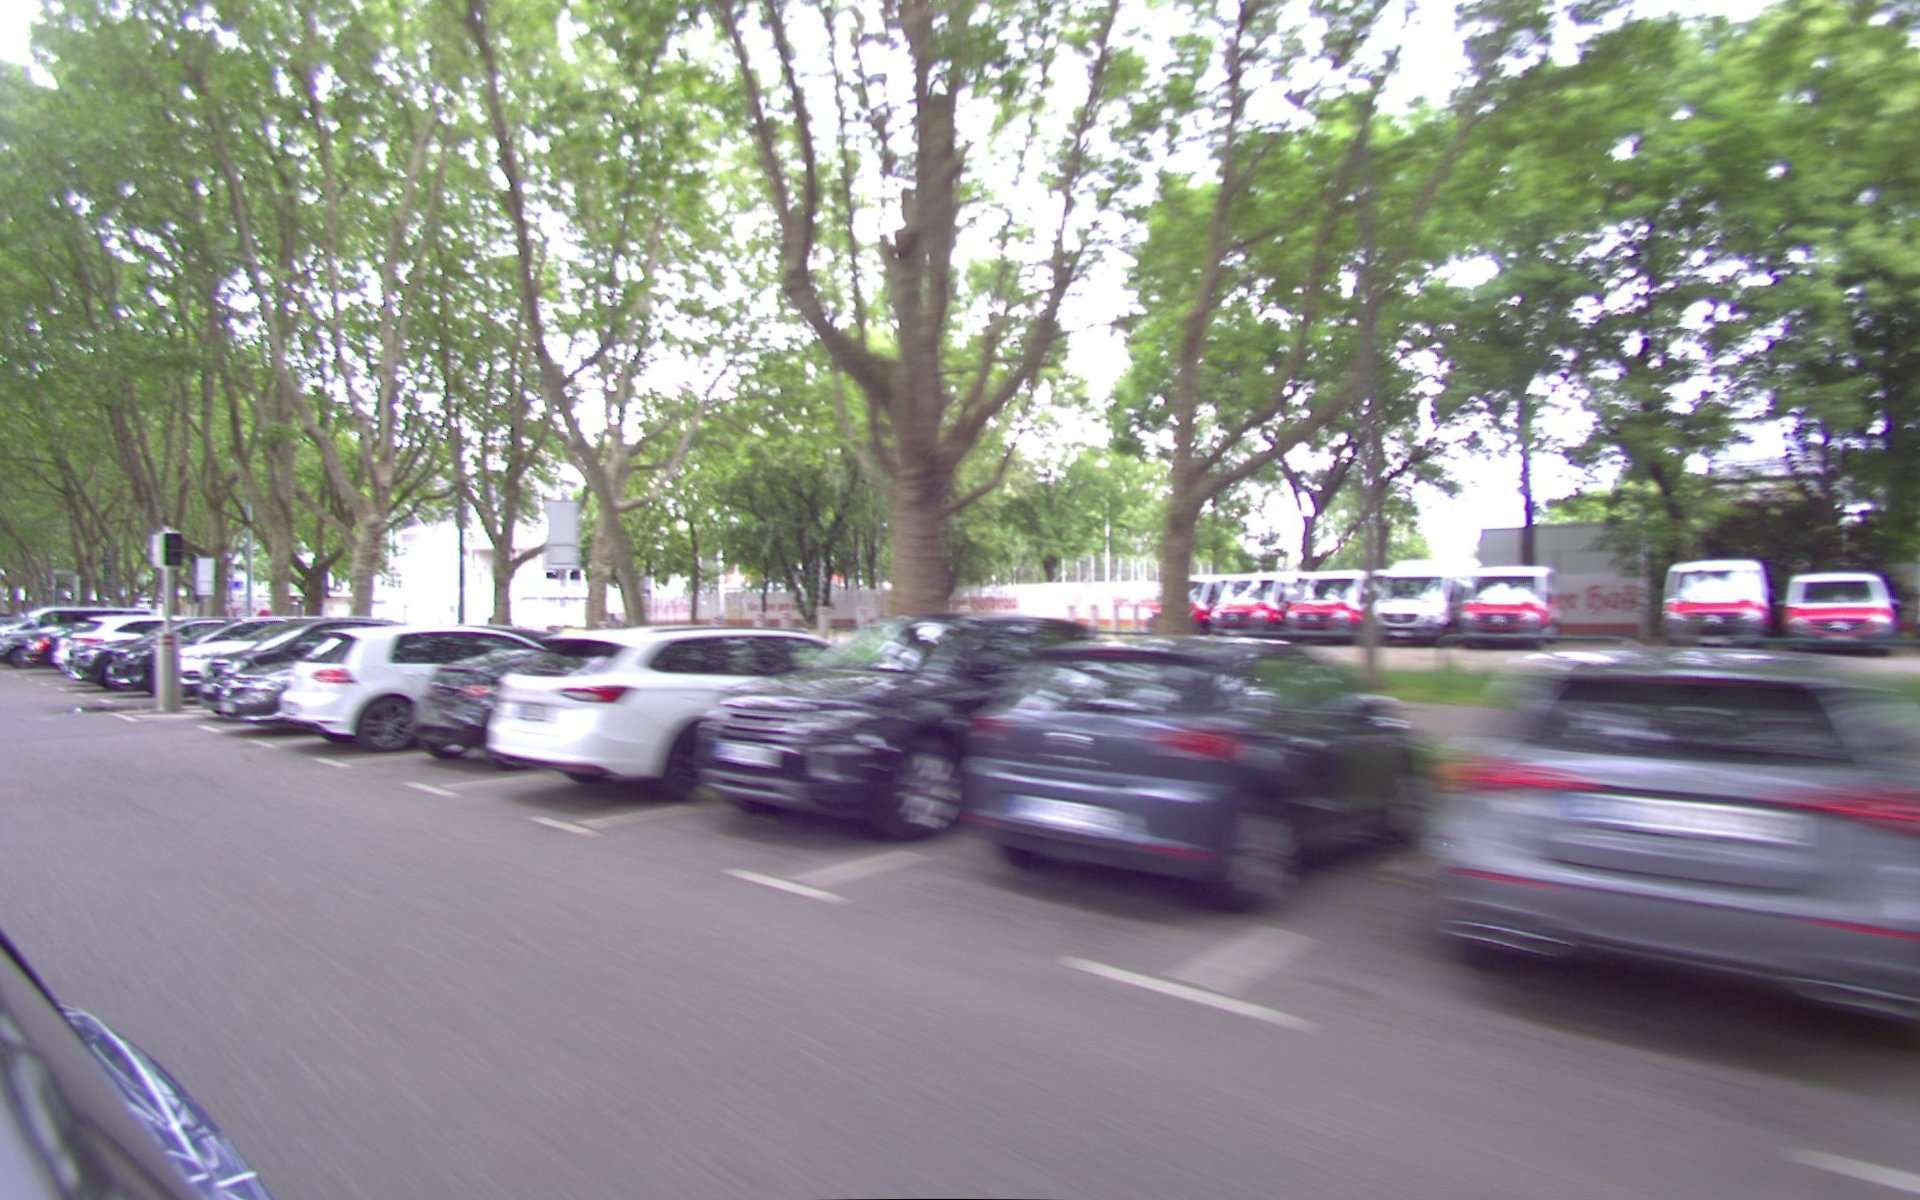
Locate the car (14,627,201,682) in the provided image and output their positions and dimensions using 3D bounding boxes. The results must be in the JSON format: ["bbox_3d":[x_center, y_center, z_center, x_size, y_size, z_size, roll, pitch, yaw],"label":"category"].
[{"bbox_3d":[-24.864,1.556,29.642,1.535,1.482,3.956,-2,-2,39],"label":"car"}]

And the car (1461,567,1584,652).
[{"bbox_3d":[16.523,0.219,29.530,1.999,2.257,5.941,-2,0,40],"label":"car"}]

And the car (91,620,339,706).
[{"bbox_3d":[-15.374,1.261,21.055,1.831,1.620,3.790,-2,-3,38],"label":"car"}]

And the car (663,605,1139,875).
[{"bbox_3d":[-0.252,0.917,8.198,1.856,1.621,3.791,-2,-3,37],"label":"car"}]

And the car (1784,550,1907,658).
[{"bbox_3d":[21.505,0.062,24.717,1.999,2.322,5.941,-2,0,40],"label":"car"}]

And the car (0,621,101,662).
[{"bbox_3d":[-39.471,1.783,42.917,1.998,1.680,4.297,-2,-4,39],"label":"car"}]

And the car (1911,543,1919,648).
[{"bbox_3d":[23.454,-0.107,23.222,1.999,2.546,5.941,-2,0,40],"label":"car"}]

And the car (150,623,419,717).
[{"bbox_3d":[-13.001,1.288,19.694,1.692,1.620,4.005,-1,-2,38],"label":"car"}]

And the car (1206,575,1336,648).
[{"bbox_3d":[10.593,0.320,34.152,1.999,2.269,5.941,-2,0,40],"label":"car"}]

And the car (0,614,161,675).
[{"bbox_3d":[-31.966,1.583,36.288,1.916,2.035,4.847,-1,-3,37],"label":"car"}]

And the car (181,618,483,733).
[{"bbox_3d":[-10.002,1.143,16.356,1.692,1.620,3.790,-2,-3,38],"label":"car"}]

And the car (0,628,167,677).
[{"bbox_3d":[-28.358,1.662,32.450,1.775,1.463,4.398,-2,-3,44],"label":"car"}]

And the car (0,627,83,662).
[{"bbox_3d":[-41.084,1.947,44.140,1.840,1.487,3.948,-2,-4,38],"label":"car"}]

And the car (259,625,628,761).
[{"bbox_3d":[-6.344,1.056,12.781,1.692,1.441,3.790,-2,-3,38],"label":"car"}]

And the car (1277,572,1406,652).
[{"bbox_3d":[12.378,0.325,32.556,1.999,2.335,5.941,-2,0,40],"label":"car"}]

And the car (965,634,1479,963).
[{"bbox_3d":[1.907,0.947,6.515,1.800,1.441,3.789,-2,-3,39],"label":"car"}]

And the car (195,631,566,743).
[{"bbox_3d":[-8.186,1.153,14.687,1.692,1.375,4.359,-2,-3,38],"label":"car"}]

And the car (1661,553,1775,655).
[{"bbox_3d":[19.753,0.065,26.247,1.999,2.347,5.941,-2,0,40],"label":"car"}]

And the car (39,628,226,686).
[{"bbox_3d":[-22.976,1.571,28.193,1.863,1.485,3.718,-2,-3,39],"label":"car"}]

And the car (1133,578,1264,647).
[{"bbox_3d":[8.570,0.377,35.899,1.999,2.269,5.941,-2,0,40],"label":"car"}]

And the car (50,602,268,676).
[{"bbox_3d":[-19.415,0.948,24.655,1.950,1.640,3.790,-2,-3,38],"label":"car"}]

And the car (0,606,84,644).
[{"bbox_3d":[-43.424,1.161,46.612,1.998,1.680,4.297,-2,-4,39],"label":"car"}]

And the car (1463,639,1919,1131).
[{"bbox_3d":[3.696,0.907,4.734,1.692,1.441,3.790,-2,-3,38],"label":"car"}]

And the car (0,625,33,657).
[{"bbox_3d":[-49.725,2.037,50.898,1.998,1.609,4.336,-2,-3,39],"label":"car"}]

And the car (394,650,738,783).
[{"bbox_3d":[-4.295,1.197,11.414,1.582,1.212,3.285,-2,-3,37],"label":"car"}]

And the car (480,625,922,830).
[{"bbox_3d":[-2.216,1.014,9.506,1.692,1.509,3.790,-2,-3,38],"label":"car"}]

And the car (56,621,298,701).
[{"bbox_3d":[-17.418,1.320,22.654,1.799,1.620,4.023,-2,-3,43],"label":"car"}]

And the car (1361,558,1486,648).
[{"bbox_3d":[14.564,0.050,31.593,1.999,2.546,5.941,-2,0,40],"label":"car"}]

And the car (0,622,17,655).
[{"bbox_3d":[-62.954,2.409,63.451,1.938,2.144,5.381,-3,-4,39],"label":"car"}]
